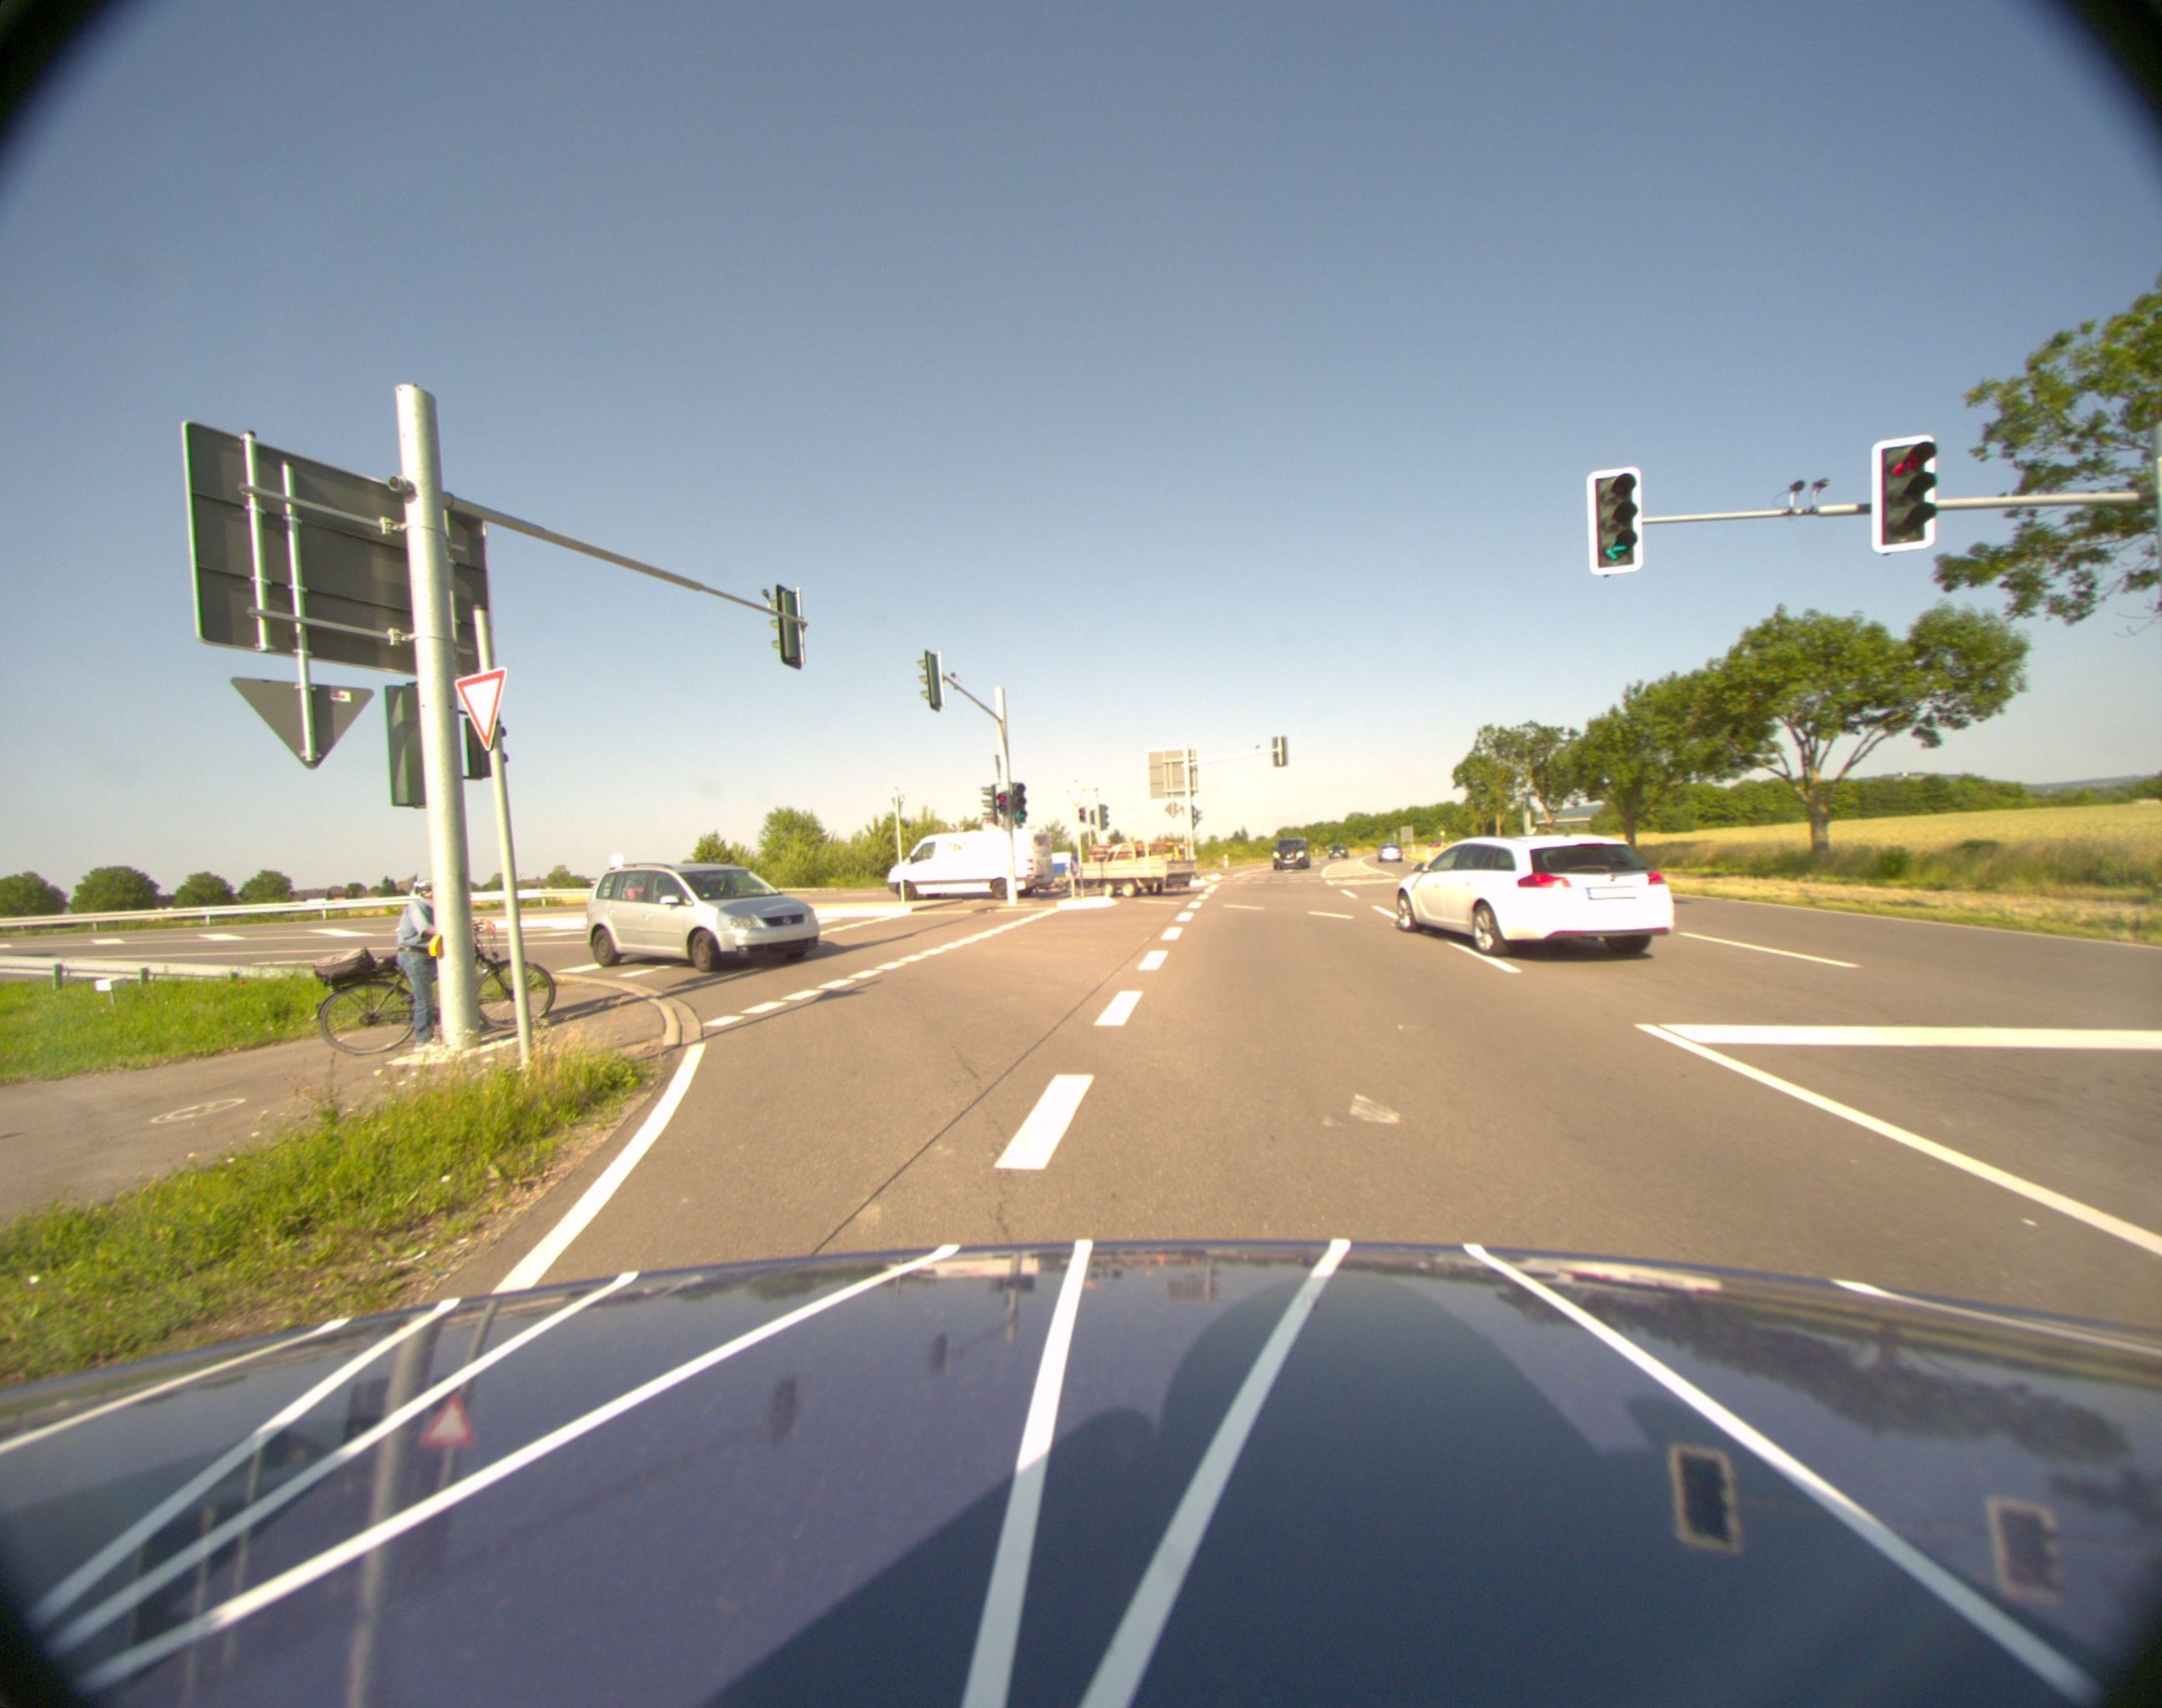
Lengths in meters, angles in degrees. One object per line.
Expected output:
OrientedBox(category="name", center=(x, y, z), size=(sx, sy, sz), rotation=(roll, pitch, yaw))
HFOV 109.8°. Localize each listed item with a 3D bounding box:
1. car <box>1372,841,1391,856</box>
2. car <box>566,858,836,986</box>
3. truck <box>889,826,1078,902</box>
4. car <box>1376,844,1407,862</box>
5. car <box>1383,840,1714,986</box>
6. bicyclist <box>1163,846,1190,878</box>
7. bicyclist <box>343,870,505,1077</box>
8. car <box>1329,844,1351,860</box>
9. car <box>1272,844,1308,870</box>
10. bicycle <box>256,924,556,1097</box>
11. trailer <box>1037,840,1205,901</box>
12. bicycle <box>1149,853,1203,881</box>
OrientedBox(category="car", center=(32.887, -0.604, 83.088), size=(1.886, 1.616, 4.006), rotation=(-1, 1, 22))
OrientedBox(category="car", center=(-6.165, 1.022, 12.235), size=(4.204, 1.685, 1.759), rotation=(-3, 1, 30))
OrientedBox(category="truck", center=(-3.400, 0.372, 26.349), size=(6.184, 2.391, 2.074), rotation=(-2, 1, 21))
OrientedBox(category="car", center=(24.971, -0.116, 61.272), size=(1.631, 1.369, 4.426), rotation=(-1, 1, 14))
OrientedBox(category="car", center=(5.853, 0.610, 10.351), size=(1.763, 1.483, 4.709), rotation=(-2, 0, 3))
OrientedBox(category="bicyclist", center=(4.160, 0.330, 33.054), size=(1.072, 1.344, 0.859), rotation=(-2, 2, 14))
OrientedBox(category="bicyclist", center=(-6.232, 1.085, 7.273), size=(0.919, 1.756, 0.618), rotation=(-7, 4, -33))
OrientedBox(category="car", center=(28.749, -0.232, 84.223), size=(1.858, 1.533, 4.006), rotation=(-2, 0, 25))
OrientedBox(category="car", center=(13.447, 0.179, 48.761), size=(1.859, 1.533, 4.005), rotation=(-2, 0, 20))
OrientedBox(category="bicycle", center=(-6.276, 1.401, 7.255), size=(1.947, 1.145, 0.680), rotation=(-7, 4, -33))
OrientedBox(category="trailer", center=(1.175, 0.516, 23.896), size=(4.998, 1.728, 1.985), rotation=(-2, 1, 39))
OrientedBox(category="bicycle", center=(4.140, 0.570, 33.046), size=(2.147, 1.143, 1.074), rotation=(-2, 1, 14))
